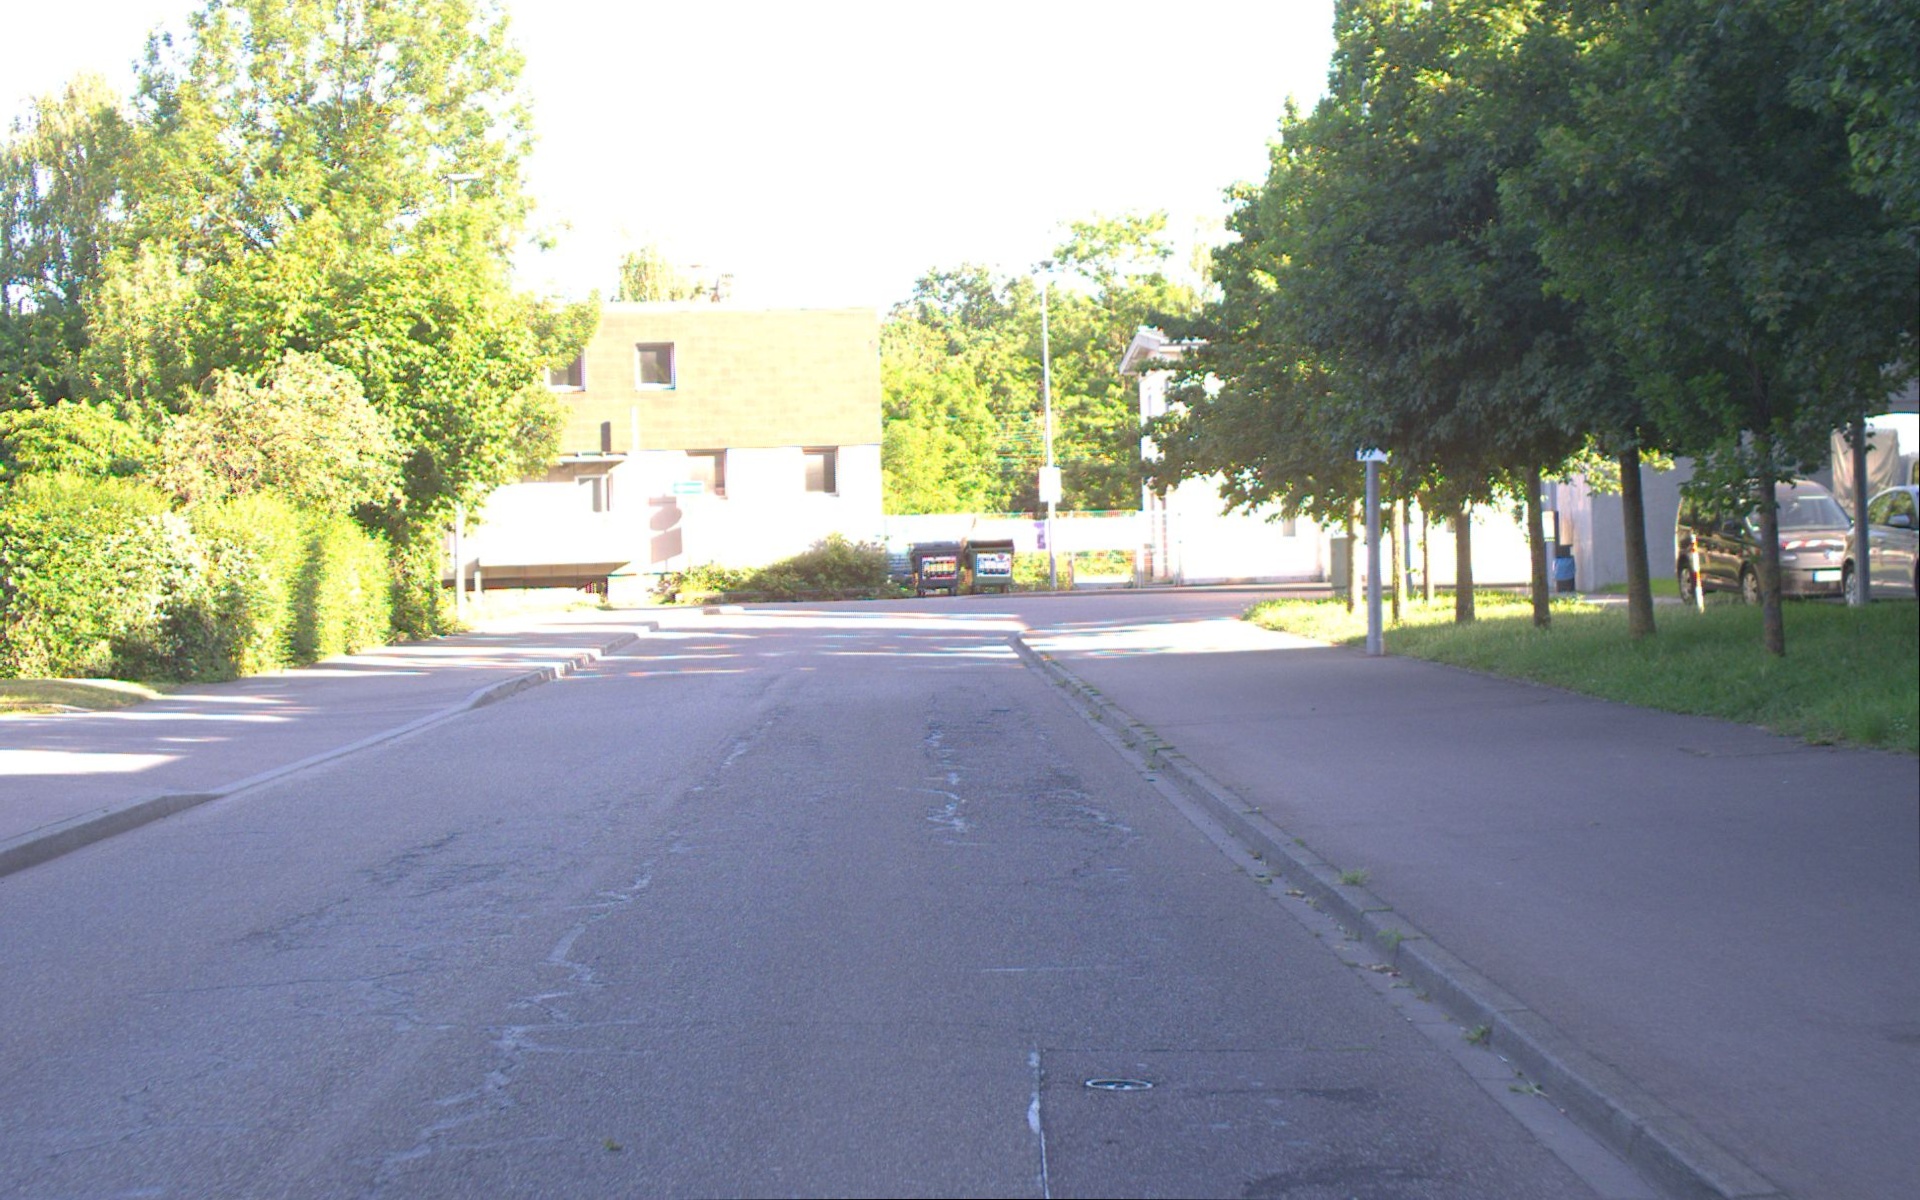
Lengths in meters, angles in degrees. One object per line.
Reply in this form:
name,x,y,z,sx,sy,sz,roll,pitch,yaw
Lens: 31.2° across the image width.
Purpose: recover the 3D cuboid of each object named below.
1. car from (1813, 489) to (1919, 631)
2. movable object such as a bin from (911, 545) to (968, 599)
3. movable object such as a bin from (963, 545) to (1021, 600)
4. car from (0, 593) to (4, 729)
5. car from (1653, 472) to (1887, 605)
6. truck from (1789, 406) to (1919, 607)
car,10.703,-0.408,36.866,1.835,1.461,4.279,0,0,-3
movable object such as a bin,-0.537,-0.725,89.371,1.364,1.413,1.066,0,0,-8
movable object such as a bin,0.825,-0.721,89.721,1.364,1.413,1.066,0,0,-8
car,-12.723,0.656,37.557,4.216,1.485,1.874,0,0,26
car,11.479,-0.839,49.036,1.835,1.808,4.667,0,0,-6
truck,14.430,-1.341,50.396,2.358,2.828,6.751,0,1,-5
